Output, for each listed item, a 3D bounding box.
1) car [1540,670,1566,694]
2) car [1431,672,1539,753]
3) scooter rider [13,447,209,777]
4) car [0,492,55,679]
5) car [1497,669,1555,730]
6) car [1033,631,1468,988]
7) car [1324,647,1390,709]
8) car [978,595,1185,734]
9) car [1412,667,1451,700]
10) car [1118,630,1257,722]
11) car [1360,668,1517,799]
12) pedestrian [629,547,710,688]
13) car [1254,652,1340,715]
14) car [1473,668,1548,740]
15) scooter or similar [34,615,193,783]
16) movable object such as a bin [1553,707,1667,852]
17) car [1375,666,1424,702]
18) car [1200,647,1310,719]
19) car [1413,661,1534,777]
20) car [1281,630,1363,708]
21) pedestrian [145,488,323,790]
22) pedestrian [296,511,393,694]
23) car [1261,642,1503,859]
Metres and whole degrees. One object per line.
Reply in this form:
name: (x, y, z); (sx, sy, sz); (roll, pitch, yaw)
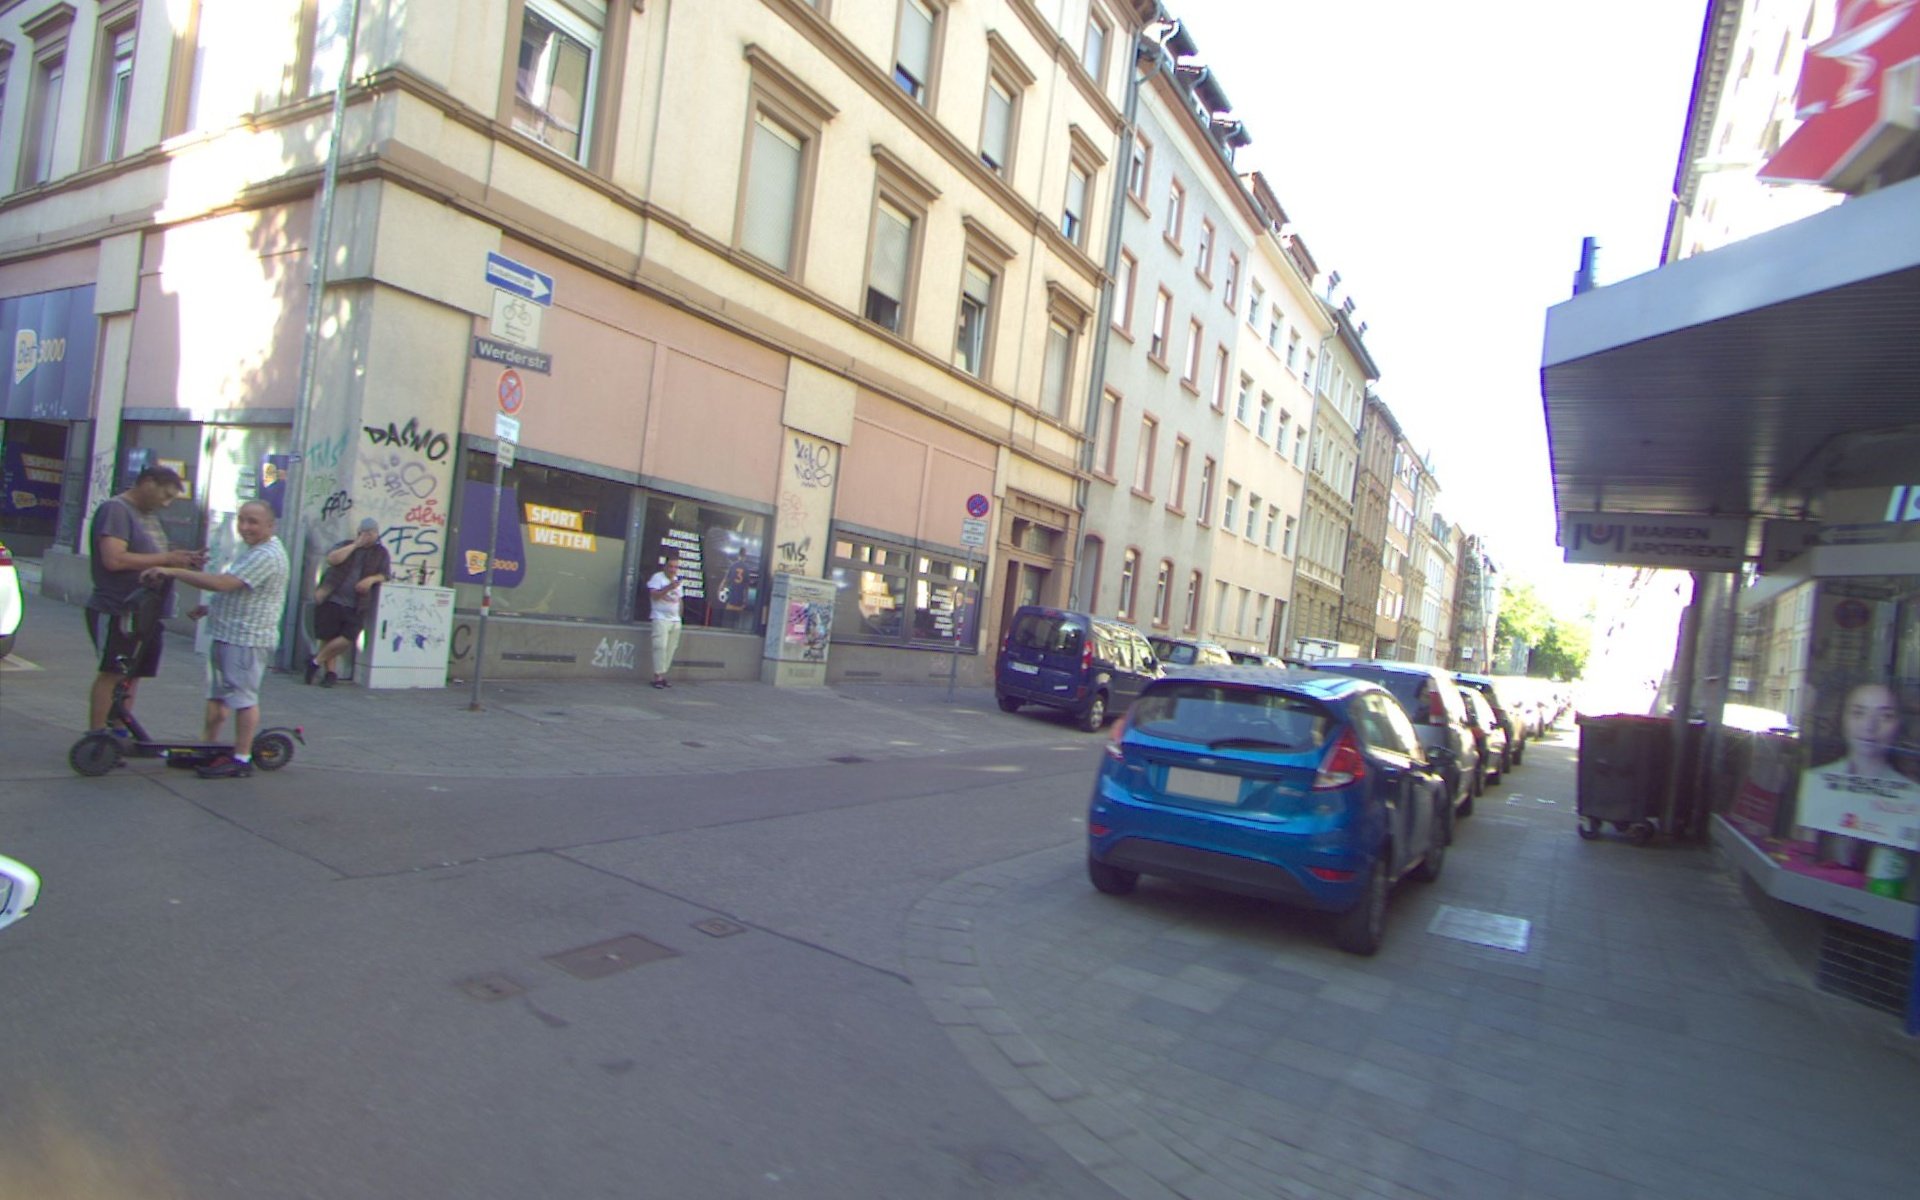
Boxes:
car: (59.191, 8.206, 100.438); (1.967, 2.037, 3.995); (6, -2, 31)
car: (12.717, 2.681, 24.252); (1.967, 1.543, 3.635); (6, -2, 31)
scooter rider: (-4.981, 0.080, 5.950); (0.558, 1.799, 0.608); (7, -1, -23)
car: (-9.952, -0.358, 8.775); (4.067, 1.534, 1.791); (6, -2, 30)
car: (22.389, 3.929, 39.723); (1.703, 2.056, 4.193); (6, -2, 31)
car: (2.171, 1.141, 6.735); (1.759, 1.504, 3.578); (7, -1, 32)
car: (15.802, 3.095, 39.969); (1.706, 2.167, 3.268); (6, -1, 32)
car: (2.214, 1.126, 17.346); (1.837, 1.863, 3.930); (10, 1, 32)
car: (29.907, 5.292, 63.787); (1.706, 1.774, 3.268); (7, 0, 32)
car: (4.971, 1.642, 21.606); (1.560, 1.631, 3.934); (6, -1, 32)
car: (7.179, 1.876, 14.878); (1.534, 1.473, 3.982); (6, -1, 32)
pedestrian: (-3.768, 0.241, 13.059); (0.467, 1.746, 0.692); (6, -1, 31)
car: (10.266, 2.527, 30.515); (1.560, 1.625, 3.578); (6, -1, 32)
car: (17.056, 3.205, 31.077); (1.703, 1.893, 3.939); (6, -2, 31)
scooter or similar: (-4.992, 0.565, 5.923); (0.911, 0.838, 0.394); (6, -1, 33)
movable object such as a bin: (6.699, 1.813, 10.406); (0.848, 1.299, 1.018); (5, -2, 33)
car: (22.644, 4.326, 51.754); (1.706, 1.522, 3.268); (7, -1, 32)
car: (7.680, 2.135, 25.927); (1.560, 1.541, 4.045); (6, -1, 32)
car: (9.655, 2.145, 18.758); (1.534, 1.738, 3.982); (6, -1, 32)
car: (12.710, 2.438, 35.181); (1.806, 2.409, 3.419); (6, -1, 32)
pedestrian: (-4.289, 0.231, 5.988); (0.520, 1.658, 0.564); (7, -1, -13)
pedestrian: (-5.951, 0.021, 9.752); (0.594, 1.671, 0.461); (7, 2, -27)
car: (4.547, 1.438, 10.506); (1.603, 1.650, 3.739); (7, -1, 32)
